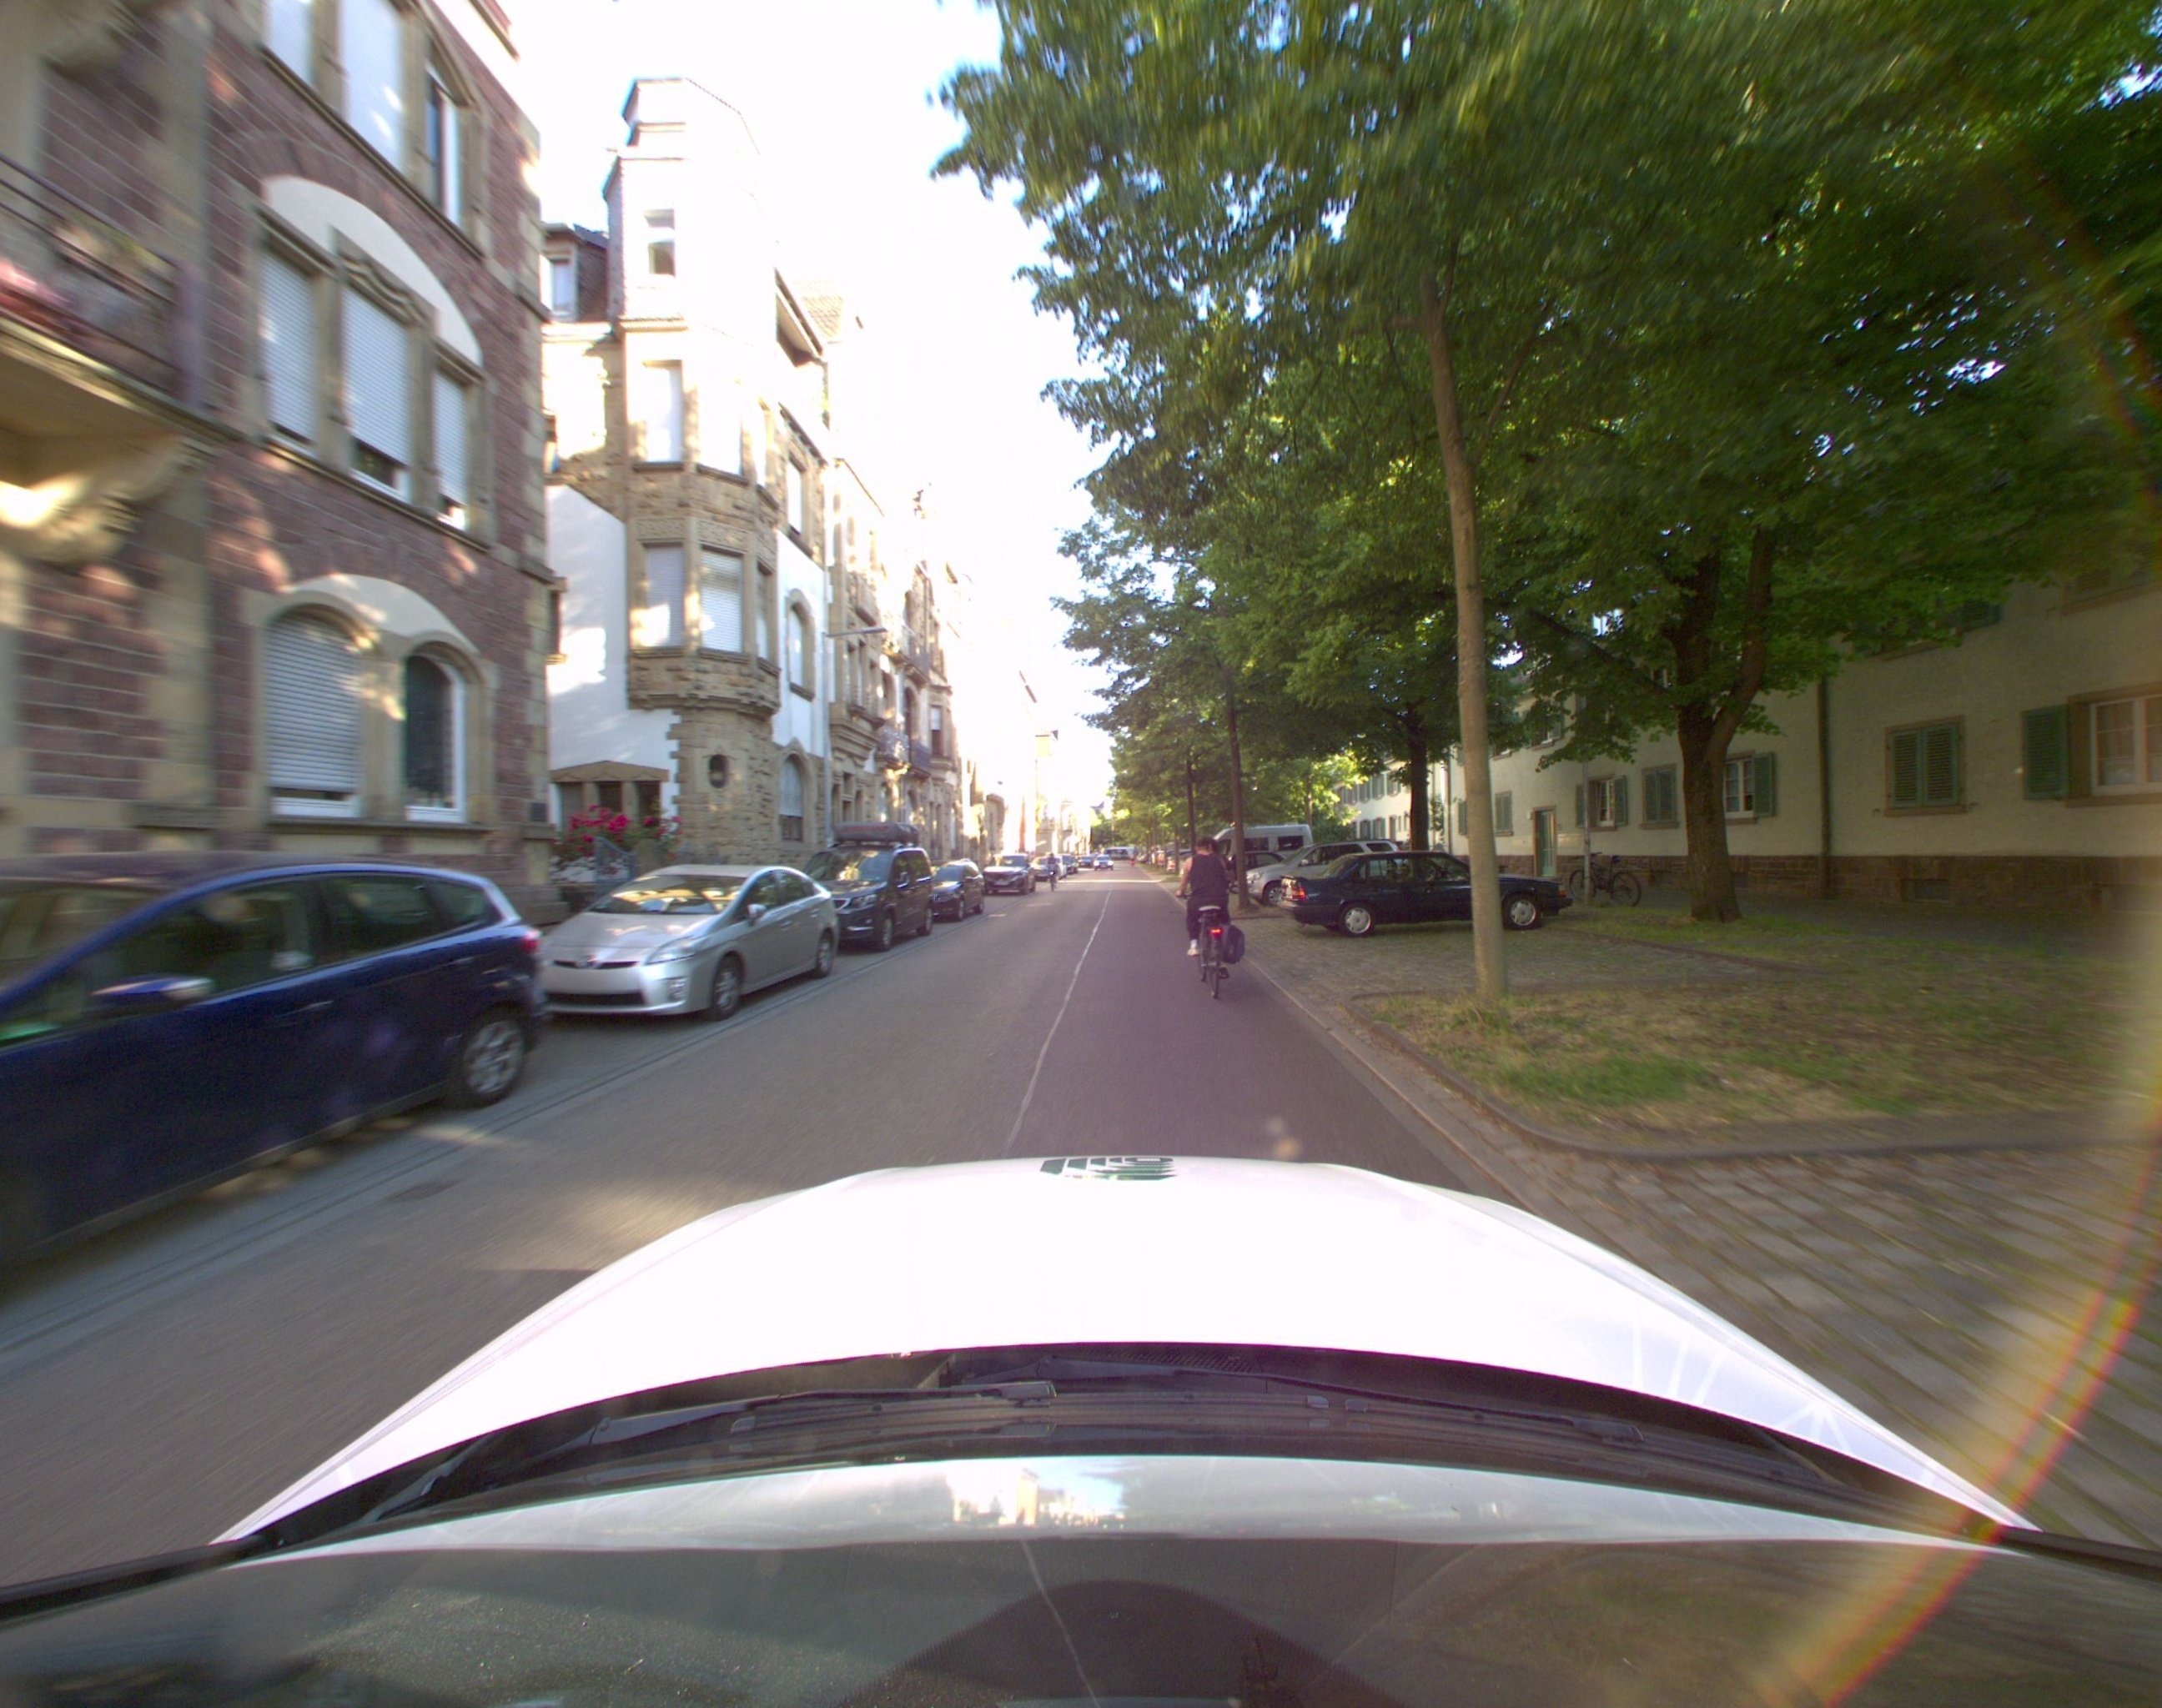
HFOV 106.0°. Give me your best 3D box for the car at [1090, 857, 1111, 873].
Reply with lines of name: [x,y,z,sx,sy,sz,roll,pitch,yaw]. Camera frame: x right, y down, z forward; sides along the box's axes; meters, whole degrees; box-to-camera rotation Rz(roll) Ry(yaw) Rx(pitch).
car: [1.877,1.113,79.498,1.890,1.486,4.380,-1,-1,0]

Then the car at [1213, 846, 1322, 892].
car: [6.606,0.536,29.133,3.488,1.472,1.752,-3,-1,1]

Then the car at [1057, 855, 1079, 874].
car: [-1.094,0.884,69.937,1.609,1.482,4.021,3,0,3]

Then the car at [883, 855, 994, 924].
car: [-3.580,0.873,21.307,1.722,1.574,4.713,-1,-1,4]

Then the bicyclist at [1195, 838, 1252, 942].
bicyclist: [2.188,0.548,12.614,0.716,1.527,0.972,-1,-1,2]

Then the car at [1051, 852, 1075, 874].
car: [-1.392,0.712,64.335,1.625,1.665,3.970,-1,-1,2]

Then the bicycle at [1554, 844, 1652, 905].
bicycle: [10.597,0.385,16.622,0.627,1.163,1.931,-1,0,-5]

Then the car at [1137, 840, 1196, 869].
car: [10.842,0.048,104.150,7.301,3.282,2.225,-3,-1,3]

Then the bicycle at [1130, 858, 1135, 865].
bicycle: [6.021,0.894,94.444,0.539,0.828,1.920,-1,-1,3]

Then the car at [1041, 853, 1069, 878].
car: [-1.730,0.766,54.923,1.485,1.517,3.777,3,0,3]

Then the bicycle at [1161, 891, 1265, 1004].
bicycle: [1.432,0.985,9.203,0.695,1.073,1.965,-1,-1,-4]

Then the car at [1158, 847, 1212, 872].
car: [8.515,0.435,66.849,4.224,1.840,1.856,-3,-1,3]

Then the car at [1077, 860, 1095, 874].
car: [0.559,1.516,95.614,1.986,1.486,4.001,-1,-1,2]

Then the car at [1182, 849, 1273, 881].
car: [7.646,0.577,42.769,4.482,1.453,1.818,-2,-1,4]

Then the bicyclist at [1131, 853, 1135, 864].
bicyclist: [6.040,0.512,94.453,0.415,1.350,0.430,-1,-1,3]

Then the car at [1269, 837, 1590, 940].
car: [6.047,0.597,14.596,4.877,1.442,1.942,-3,-1,0]

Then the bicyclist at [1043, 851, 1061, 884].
bicyclist: [-1.236,0.565,34.868,0.663,1.345,1.060,-3,0,-1]

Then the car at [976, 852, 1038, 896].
car: [-2.926,0.815,33.110,2.042,1.622,4.395,-1,-1,1]

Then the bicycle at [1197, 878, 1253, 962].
bicycle: [2.160,0.961,12.408,0.553,1.072,1.970,-1,1,2]

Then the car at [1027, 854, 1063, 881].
car: [-2.134,0.808,49.236,1.748,1.517,4.117,3,0,3]

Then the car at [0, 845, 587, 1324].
car: [-4.502,0.800,3.787,1.723,1.622,4.259,0,-1,1]

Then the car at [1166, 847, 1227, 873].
car: [8.361,0.446,59.433,4.224,1.647,1.856,-3,-1,3]

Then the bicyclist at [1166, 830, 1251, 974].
bicyclist: [1.419,0.520,9.201,0.705,1.527,0.970,-1,-1,-5]

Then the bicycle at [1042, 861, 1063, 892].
bicycle: [-1.220,0.948,35.210,0.750,1.178,2.620,-3,0,0]

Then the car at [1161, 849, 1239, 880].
car: [6.931,0.631,47.589,4.230,1.606,1.753,-3,-1,-1]

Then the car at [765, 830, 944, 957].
car: [-3.906,0.607,14.927,1.962,1.974,4.498,0,0,1]

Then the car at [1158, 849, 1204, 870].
car: [9.466,0.535,77.353,4.224,1.797,1.856,-3,-1,3]

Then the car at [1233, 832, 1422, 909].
car: [6.525,0.419,21.960,4.460,1.669,1.943,-4,1,1]

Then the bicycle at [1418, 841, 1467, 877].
bicycle: [14.425,0.201,32.549,0.800,1.399,1.997,-1,0,-10]

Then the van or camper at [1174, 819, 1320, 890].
van or camper: [6.863,0.034,34.215,5.555,2.536,2.268,-4,-1,0]

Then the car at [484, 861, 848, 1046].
car: [-4.136,0.858,9.100,1.723,1.499,4.456,0,0,1]

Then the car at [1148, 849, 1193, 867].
car: [9.572,0.435,87.463,4.736,1.780,1.856,-3,-1,3]
